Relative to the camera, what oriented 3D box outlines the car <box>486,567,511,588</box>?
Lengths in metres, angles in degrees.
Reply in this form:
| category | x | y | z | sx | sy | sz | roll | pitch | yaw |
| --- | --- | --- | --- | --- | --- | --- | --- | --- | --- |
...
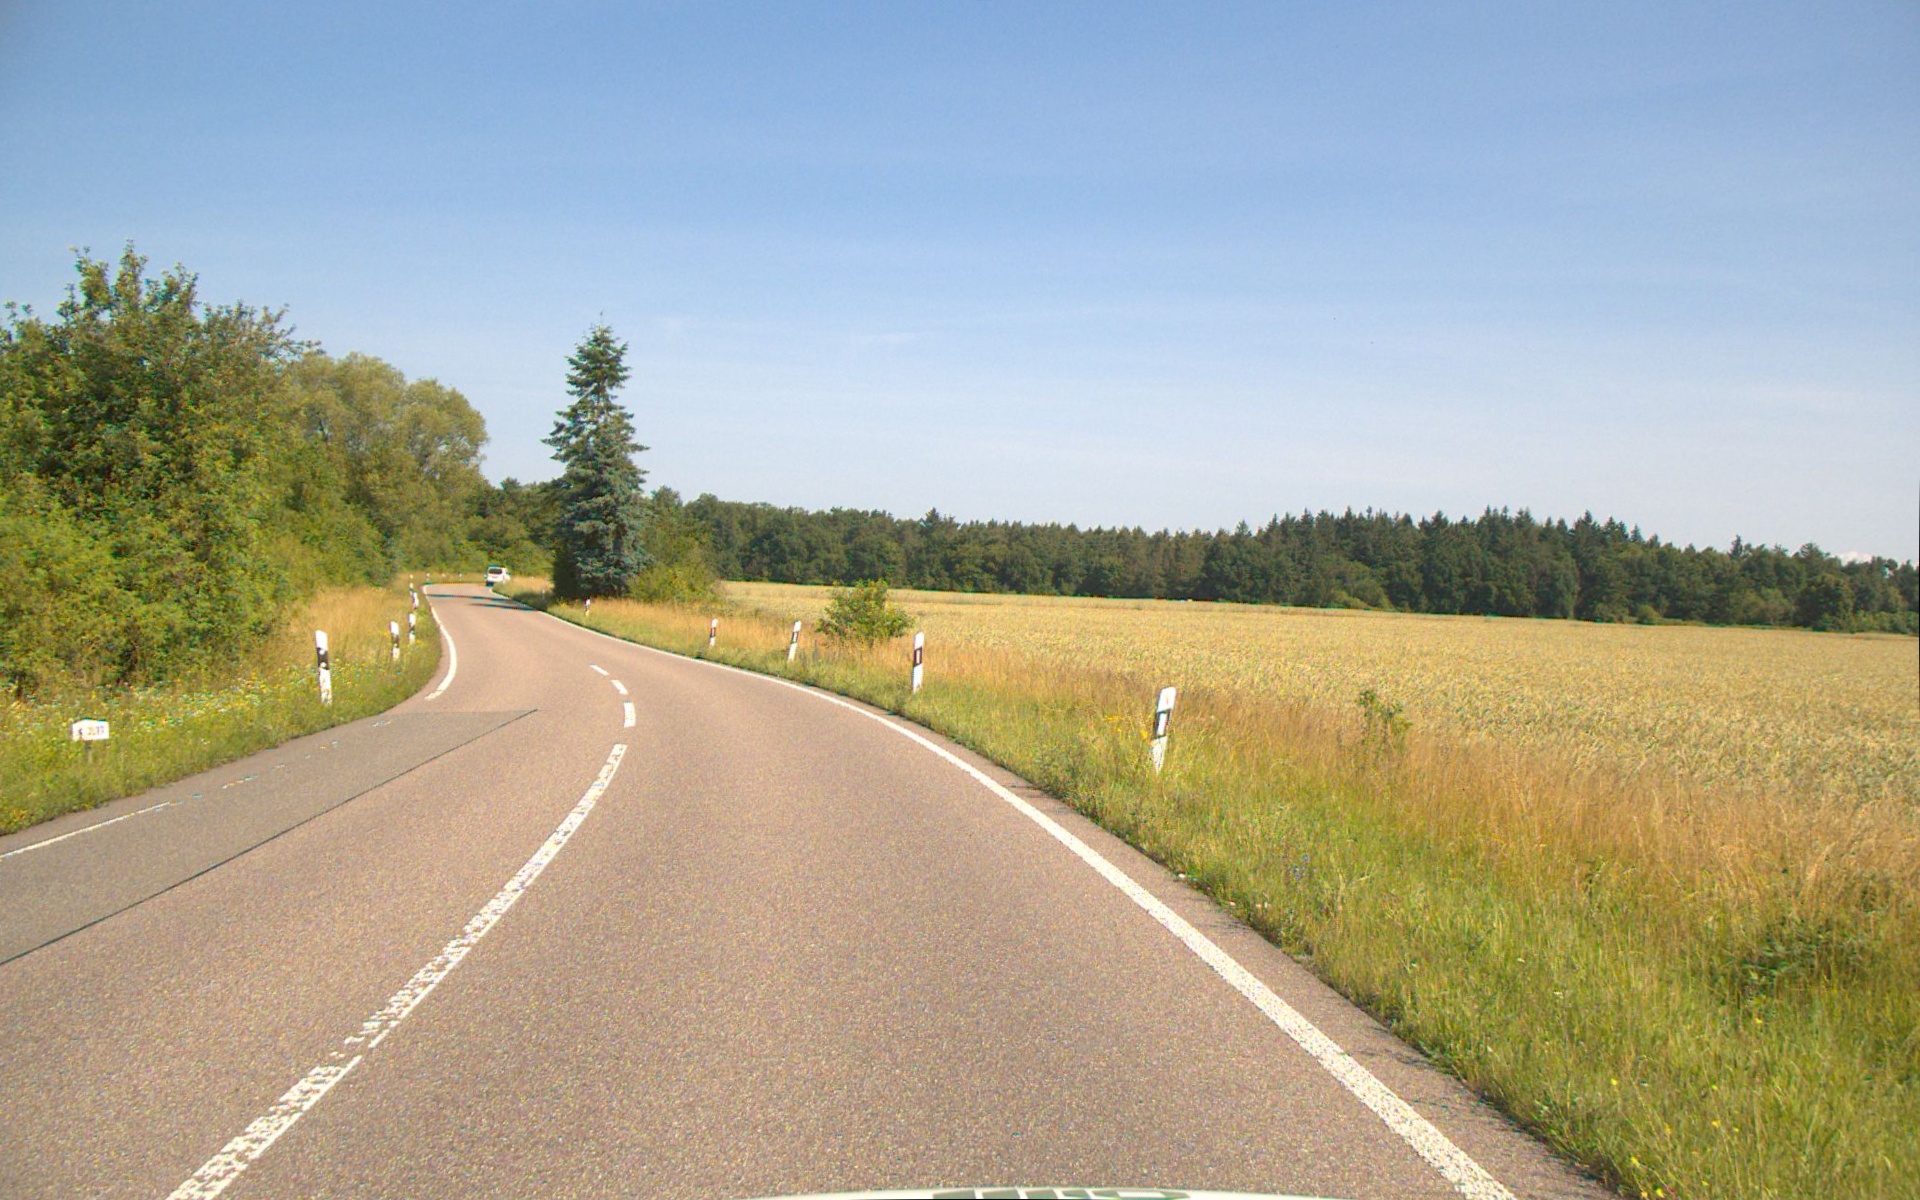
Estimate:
| category | x | y | z | sx | sy | sz | roll | pitch | yaw |
| --- | --- | --- | --- | --- | --- | --- | --- | --- | --- |
| car | -47.027 | -2.293 | 168.498 | 1.927 | 1.833 | 4.152 | 4 | 1 | -10 |
